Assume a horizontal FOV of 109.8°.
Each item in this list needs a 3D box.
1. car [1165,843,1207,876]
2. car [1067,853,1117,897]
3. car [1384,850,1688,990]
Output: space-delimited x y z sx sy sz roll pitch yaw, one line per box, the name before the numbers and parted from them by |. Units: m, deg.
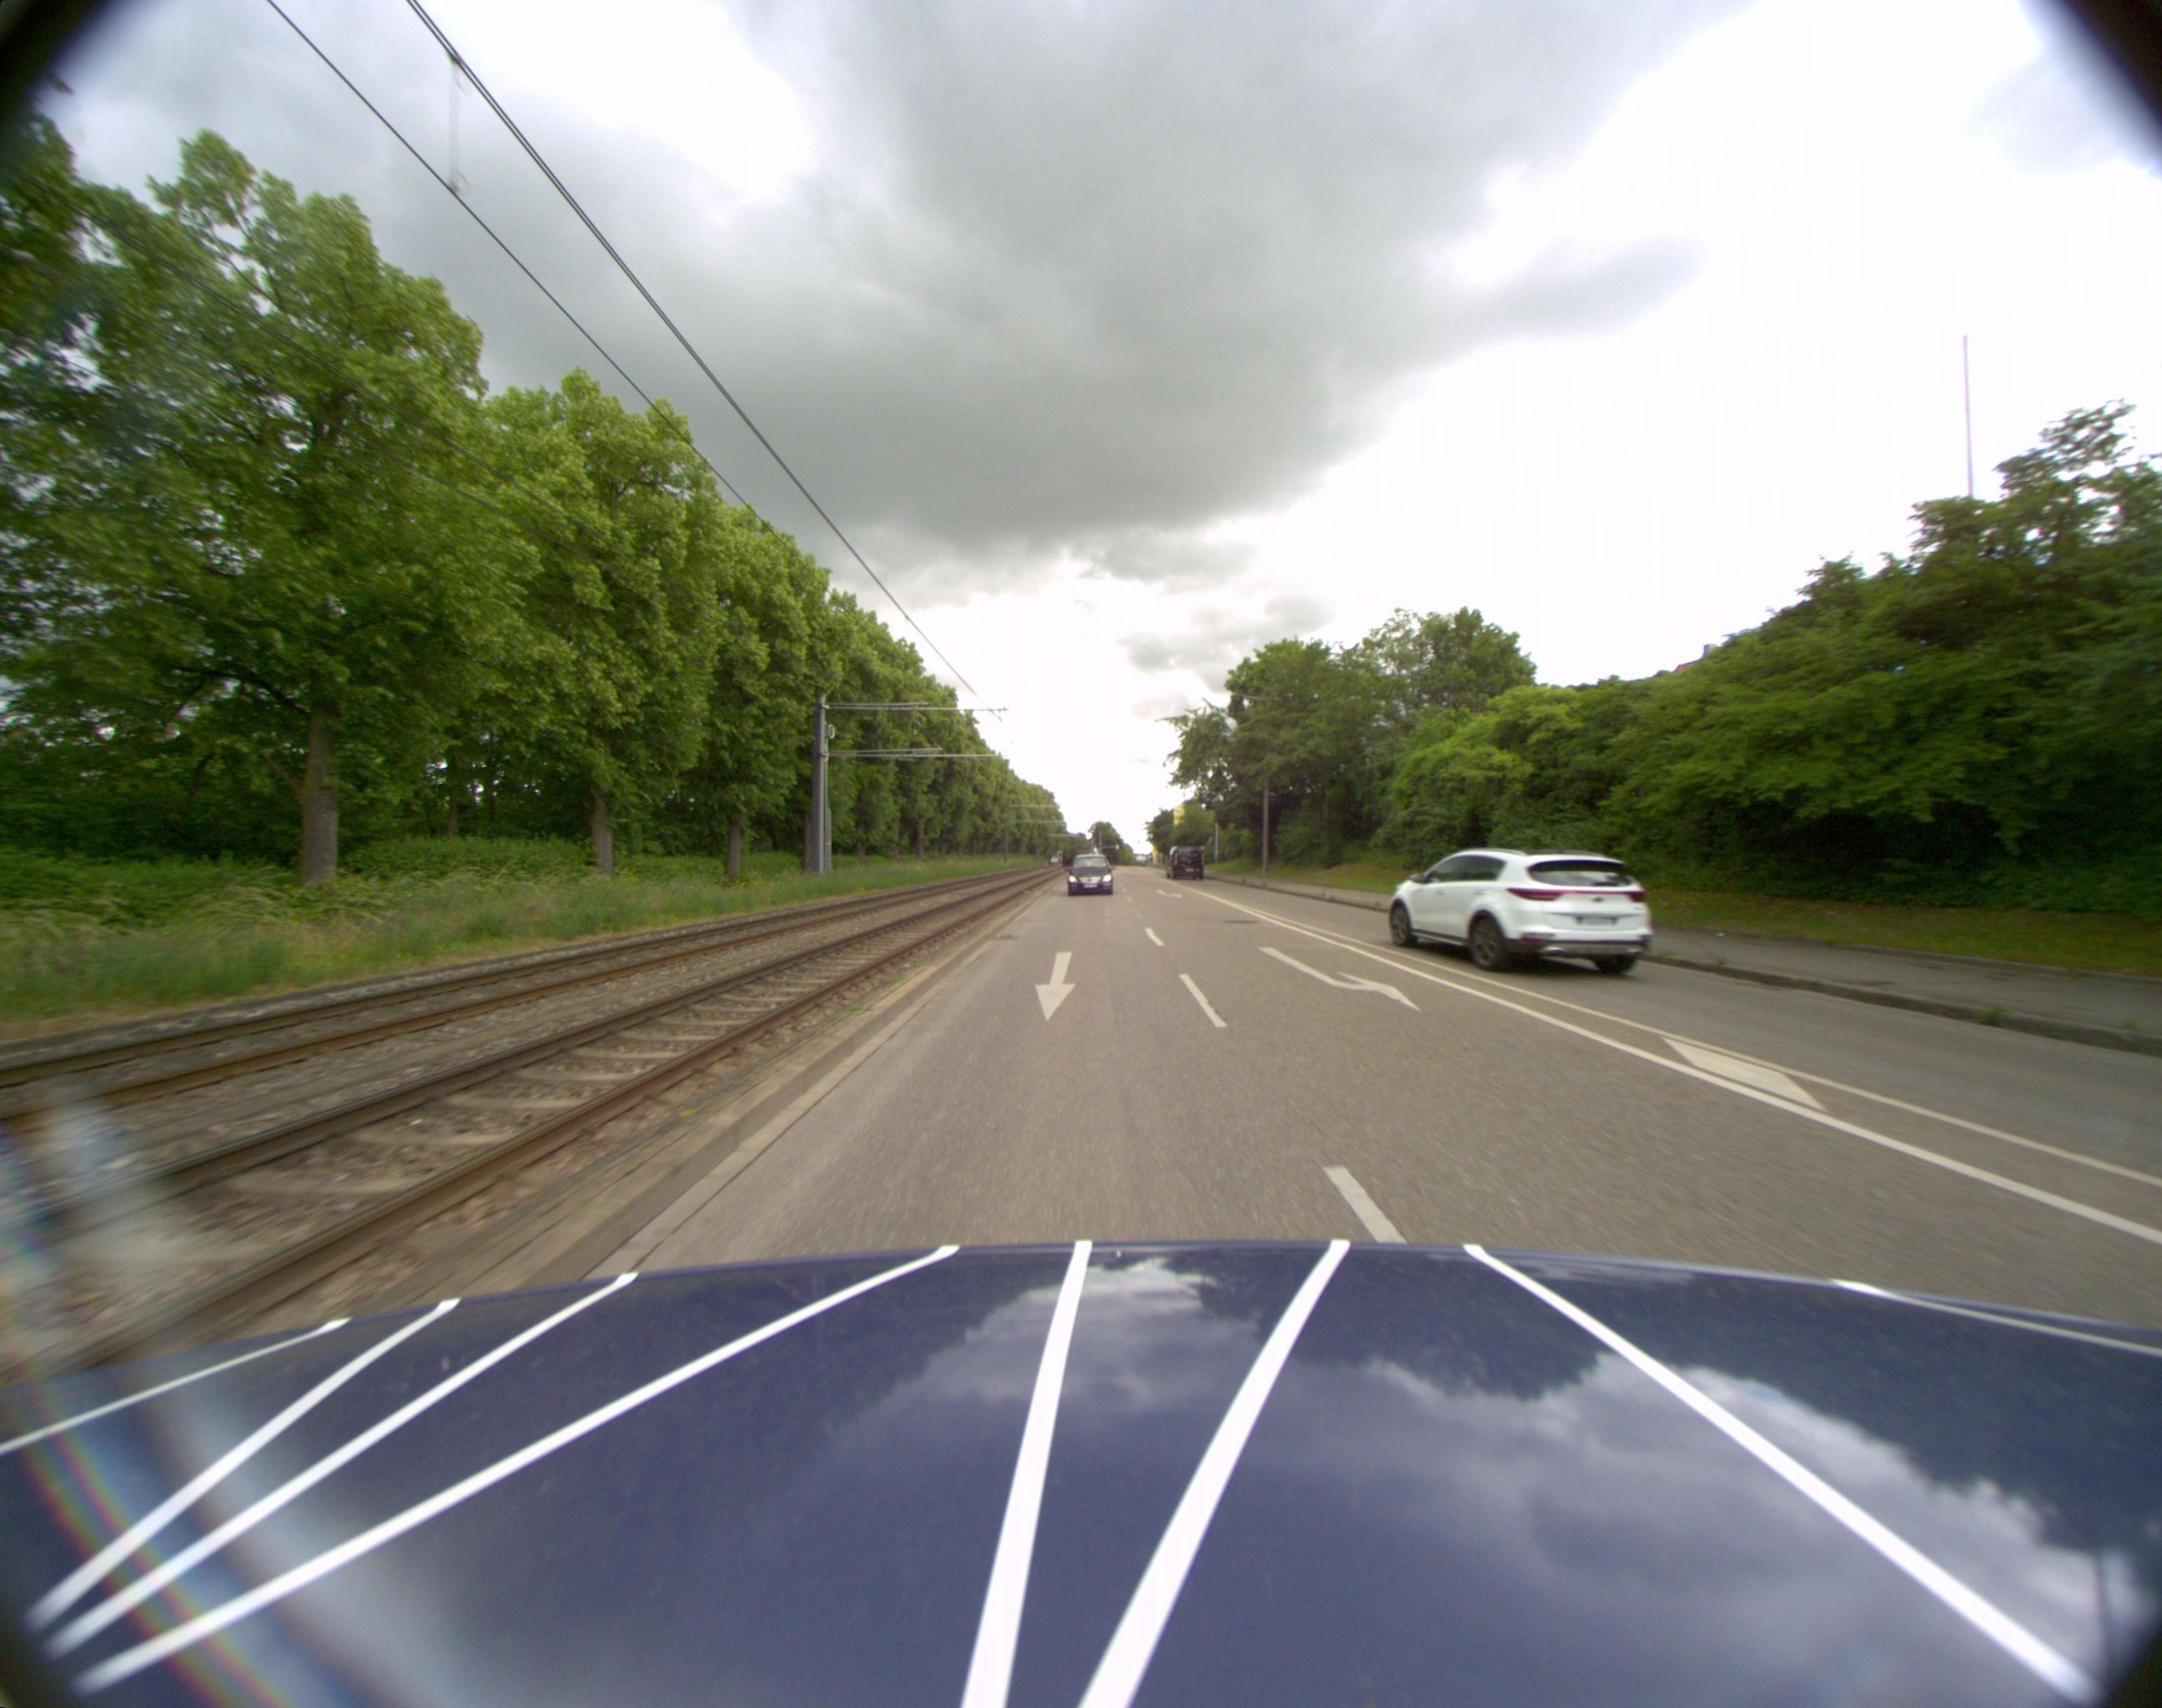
car | 6.737 0.323 49.346 1.999 2.024 5.115 0 0 0
car | 0.439 0.756 29.719 1.749 1.558 4.121 -2 0 1
car | 6.158 0.761 10.973 1.846 1.611 4.158 1 1 0
